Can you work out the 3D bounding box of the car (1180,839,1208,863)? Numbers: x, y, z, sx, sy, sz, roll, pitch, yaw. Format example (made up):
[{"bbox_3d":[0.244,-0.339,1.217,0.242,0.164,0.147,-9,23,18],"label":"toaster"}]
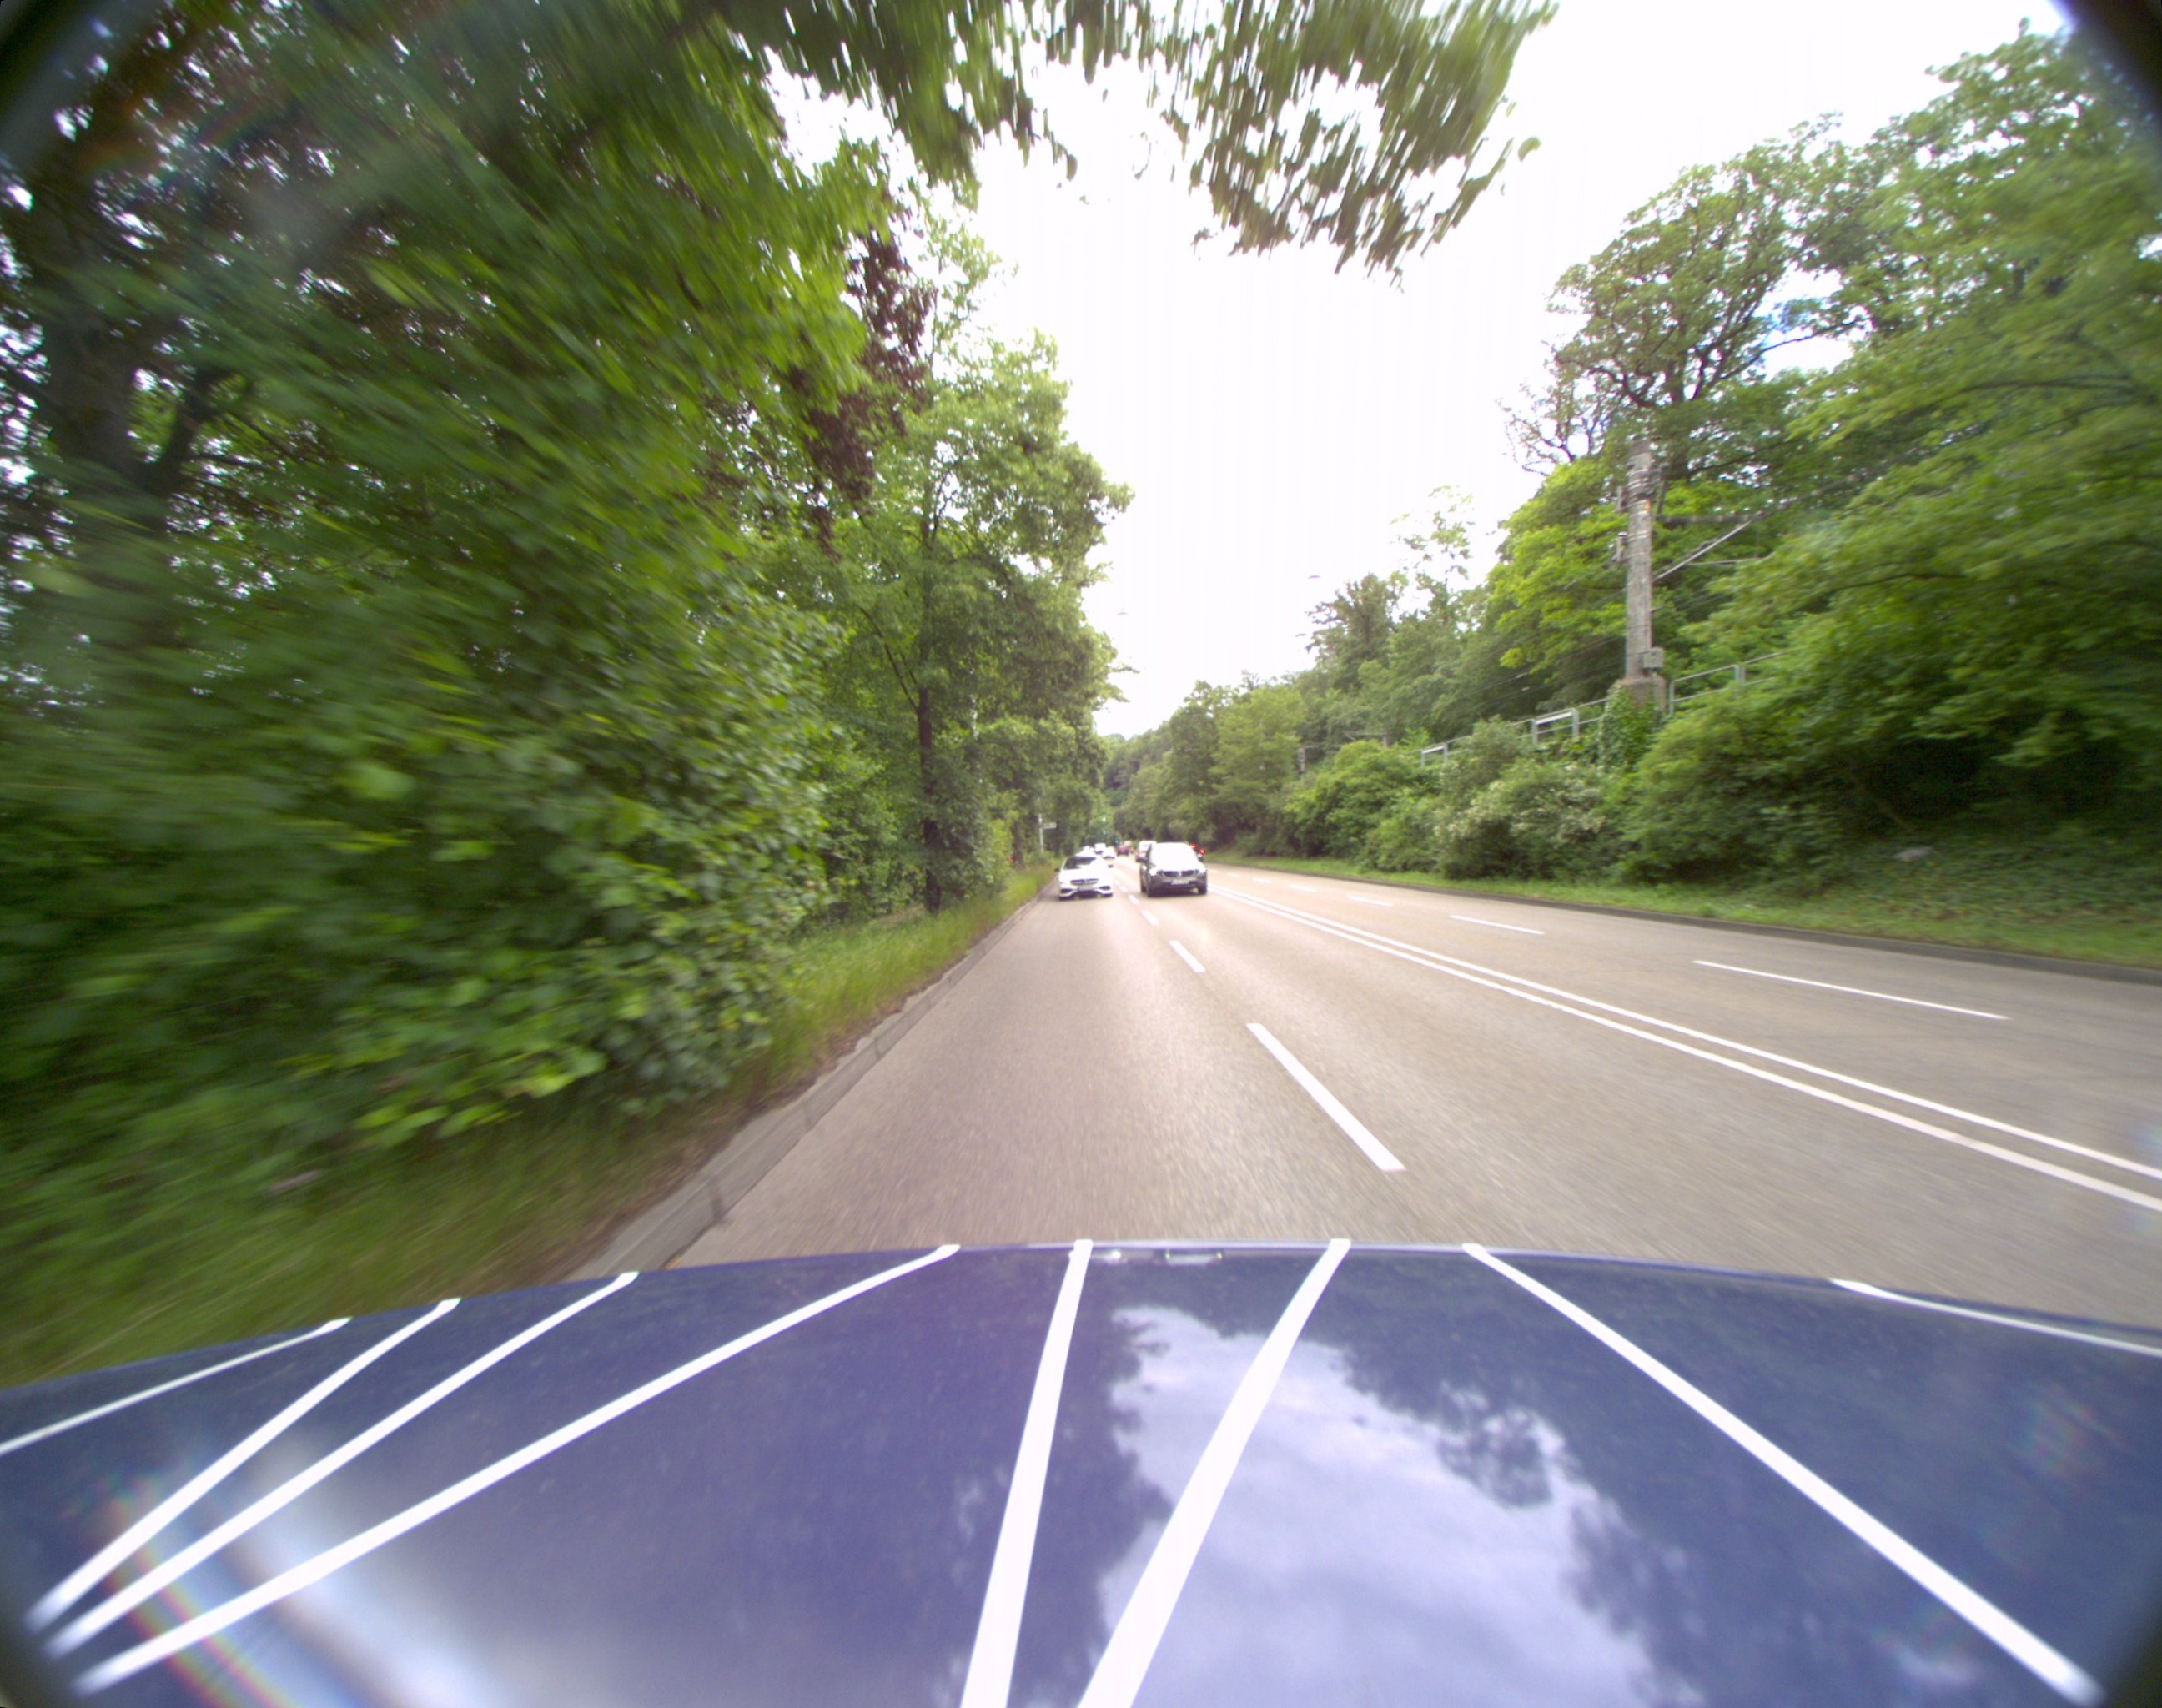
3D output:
[{"bbox_3d":[9.445,-0.283,63.786,1.740,1.589,4.064,-1,7,0],"label":"car"}]

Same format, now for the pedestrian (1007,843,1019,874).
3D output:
[{"bbox_3d":[-3.742,0.228,41.790,0.610,1.688,0.548,2,1,-3],"label":"pedestrian"}]

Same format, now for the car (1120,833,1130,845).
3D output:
[{"bbox_3d":[9.188,-3.159,160.708,1.892,2.541,4.914,-1,1,1],"label":"car"}]

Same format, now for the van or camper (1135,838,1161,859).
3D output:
[{"bbox_3d":[6.455,-0.562,73.561,1.998,2.002,5.367,1,1,0],"label":"van or camper"}]

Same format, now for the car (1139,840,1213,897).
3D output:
[{"bbox_3d":[3.004,0.405,24.705,1.871,1.653,4.191,-1,1,0],"label":"car"}]

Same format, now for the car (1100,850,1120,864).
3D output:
[{"bbox_3d":[3.699,0.385,98.842,1.699,1.573,3.996,-4,1,-10],"label":"car"}]

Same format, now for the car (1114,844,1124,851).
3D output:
[{"bbox_3d":[8.658,-1.494,172.271,1.844,1.457,4.465,-9,1,1],"label":"car"}]

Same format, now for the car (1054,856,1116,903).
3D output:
[{"bbox_3d":[0.139,0.811,26.247,1.897,1.289,4.327,-4,1,0],"label":"car"}]

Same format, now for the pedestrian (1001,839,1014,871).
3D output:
[{"bbox_3d":[-4.018,0.049,41.451,0.520,1.743,0.524,-4,2,-3],"label":"pedestrian"}]

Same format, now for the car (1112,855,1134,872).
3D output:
[{"bbox_3d":[4.001,0.880,73.675,1.918,1.459,4.529,-2,1,1],"label":"car"}]
